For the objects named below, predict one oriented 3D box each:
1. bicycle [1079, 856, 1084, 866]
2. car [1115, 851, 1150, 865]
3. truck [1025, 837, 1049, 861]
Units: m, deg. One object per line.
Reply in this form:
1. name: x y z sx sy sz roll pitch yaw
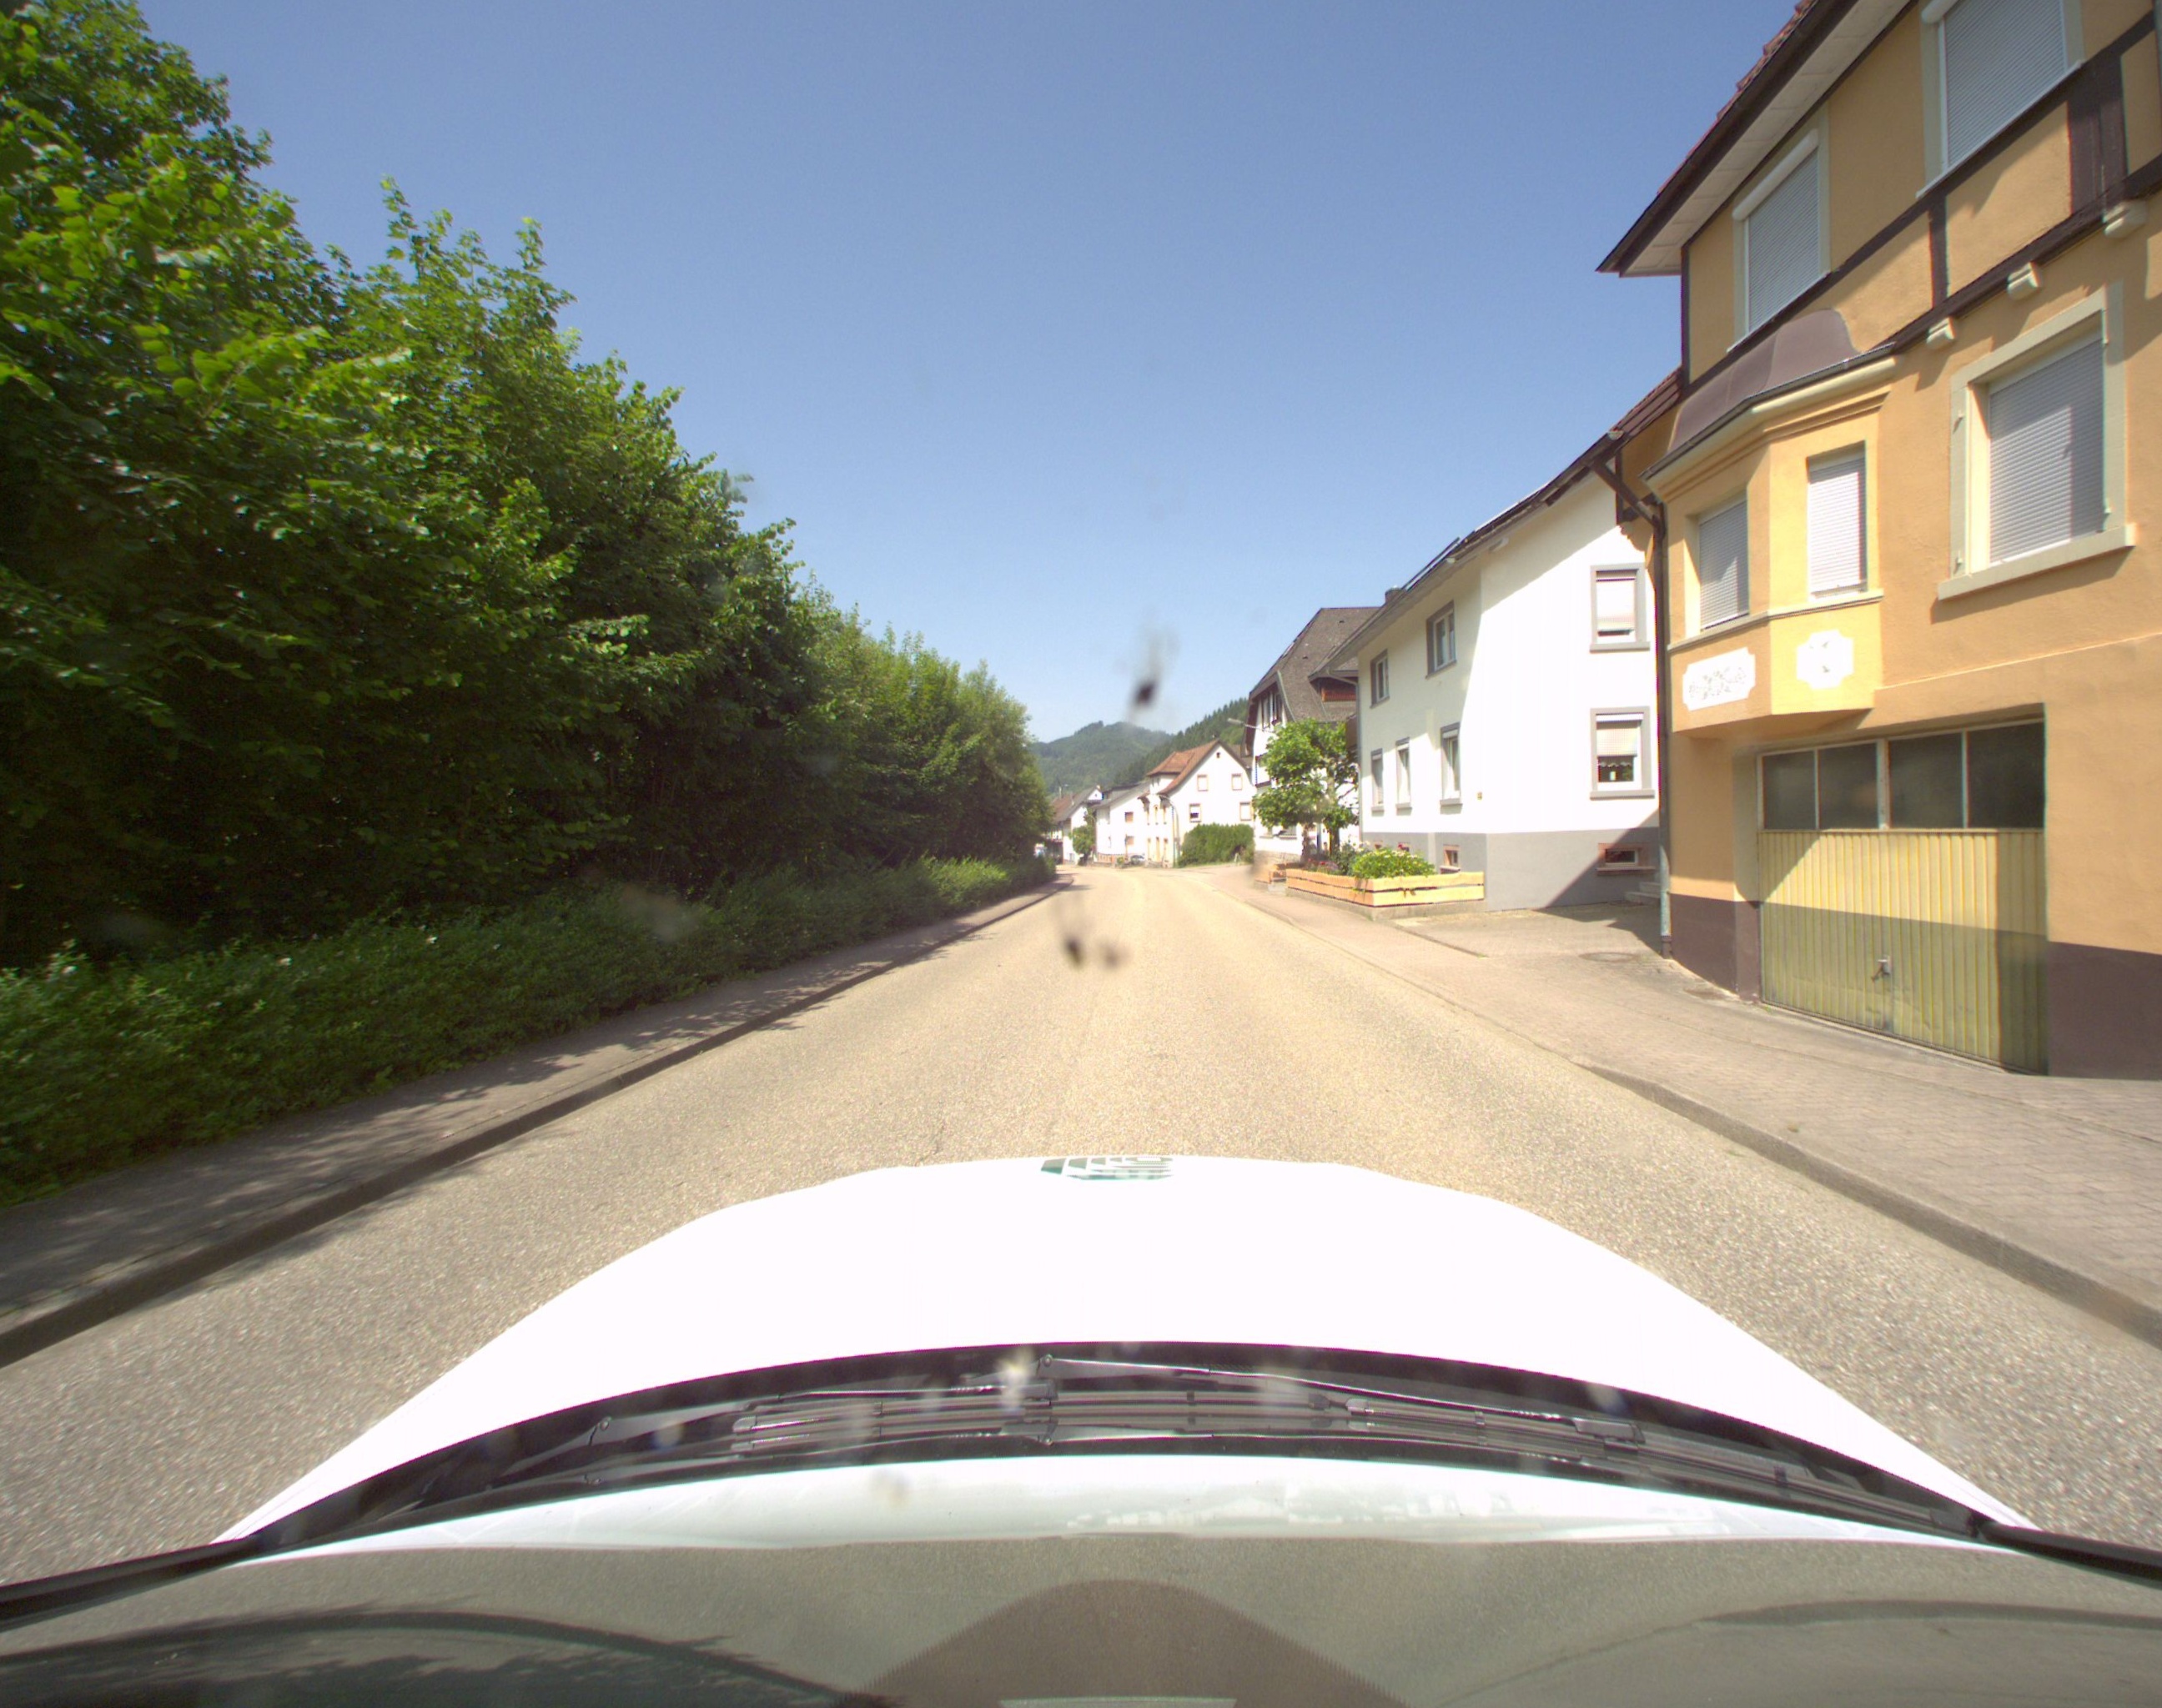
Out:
1. bicycle: 0.085 1.018 121.004 0.425 1.396 2.270 -6 1 -8
2. car: 6.106 0.445 96.331 3.727 1.427 1.620 -3 -1 37
3. truck: -8.093 -0.808 148.442 3.361 3.782 8.418 -6 -1 -7
